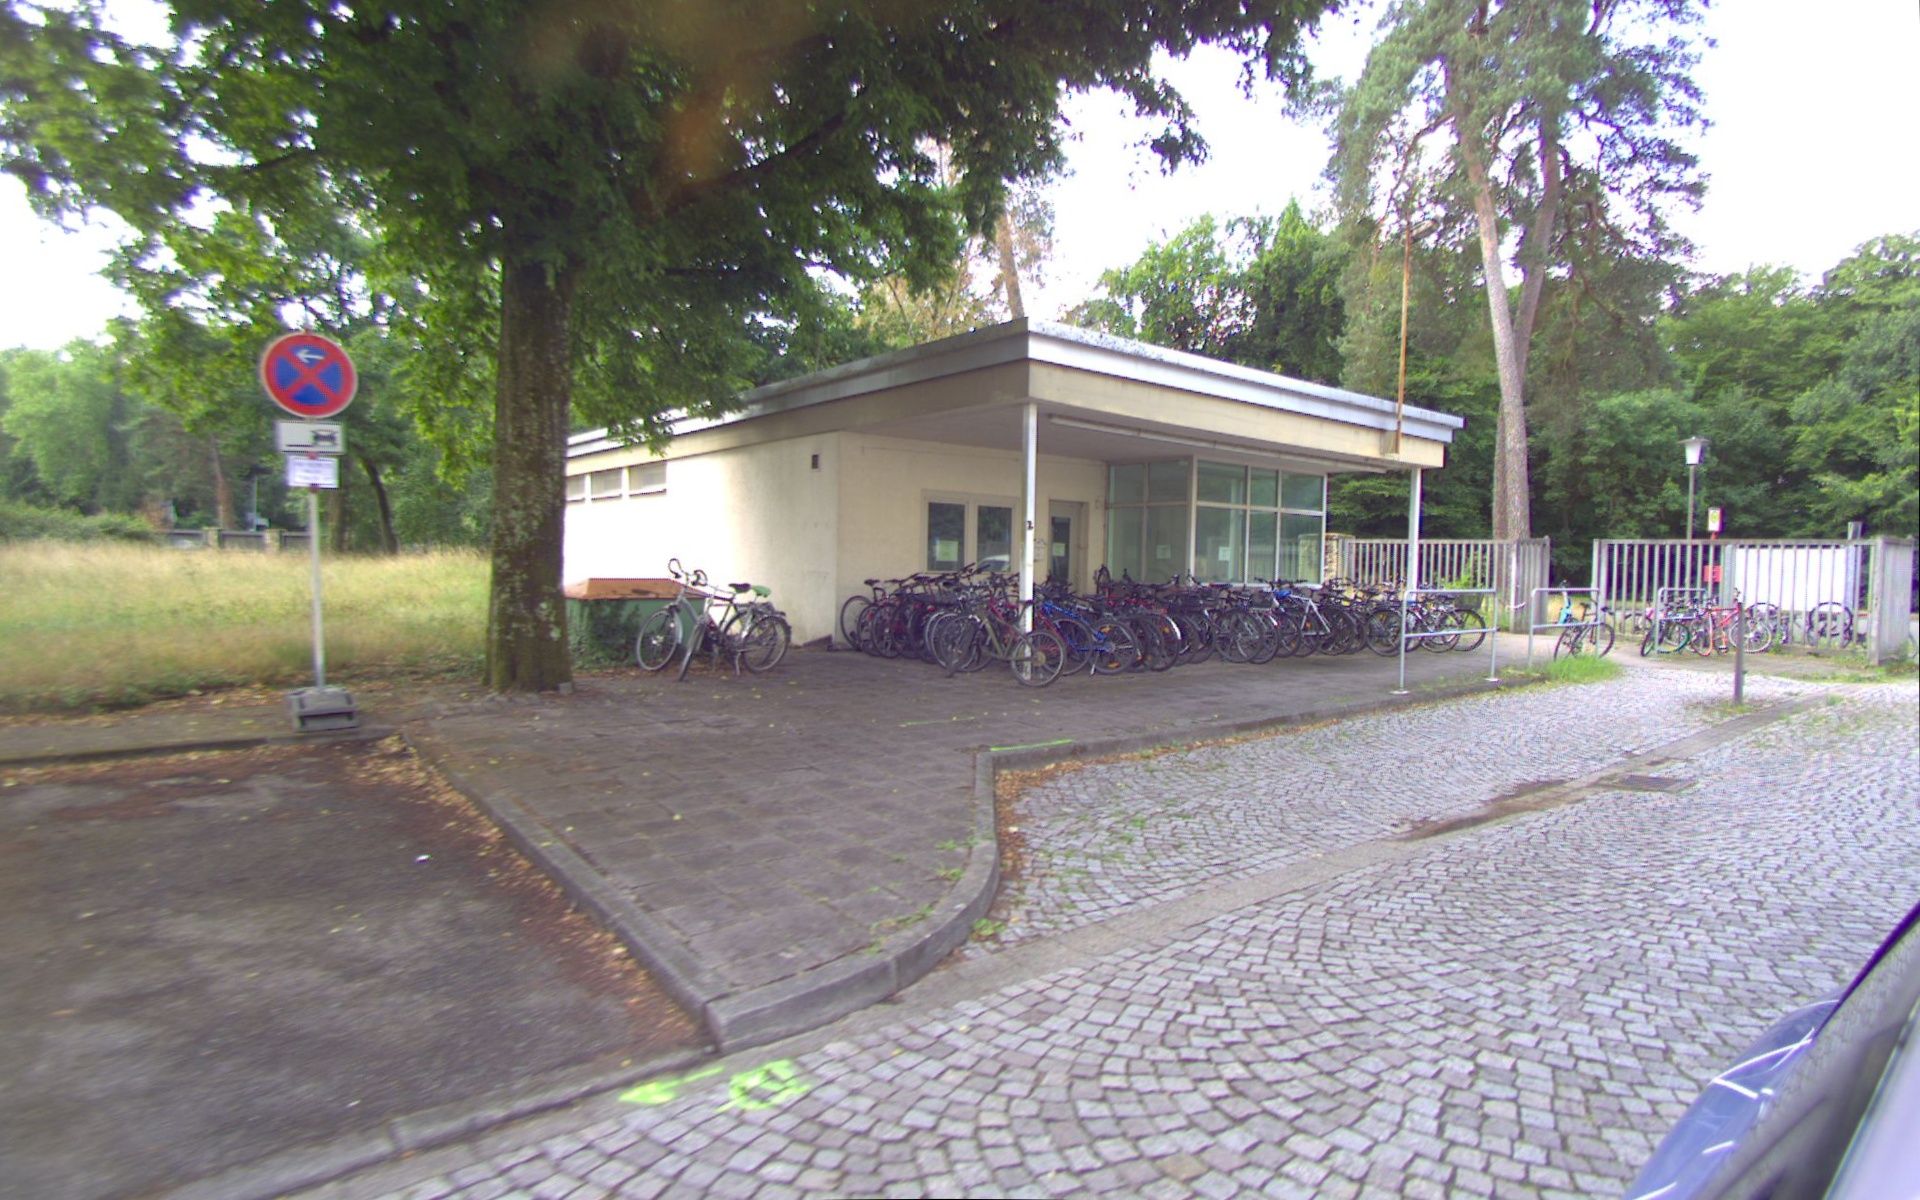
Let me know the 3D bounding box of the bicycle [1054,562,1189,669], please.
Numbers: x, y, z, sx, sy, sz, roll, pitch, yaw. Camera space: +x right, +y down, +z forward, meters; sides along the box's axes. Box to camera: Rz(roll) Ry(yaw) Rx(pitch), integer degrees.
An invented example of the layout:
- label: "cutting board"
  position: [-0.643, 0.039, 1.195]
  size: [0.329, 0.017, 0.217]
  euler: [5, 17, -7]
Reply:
- label: "bicycle"
  position: [2.021, 0.164, 12.832]
  size: [1.627, 1.204, 0.467]
  euler: [5, 4, 38]

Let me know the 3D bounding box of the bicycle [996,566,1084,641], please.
- label: "bicycle"
  position: [1.274, 0.030, 15.850]
  size: [0.478, 1.089, 1.658]
  euler: [5, 4, 39]

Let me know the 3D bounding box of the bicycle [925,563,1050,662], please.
- label: "bicycle"
  position: [0.341, 0.128, 13.615]
  size: [0.598, 1.179, 1.743]
  euler: [-1, 4, -43]

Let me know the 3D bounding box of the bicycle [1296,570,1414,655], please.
- label: "bicycle"
  position: [5.960, 0.164, 15.321]
  size: [1.613, 1.154, 0.320]
  euler: [5, 4, 44]

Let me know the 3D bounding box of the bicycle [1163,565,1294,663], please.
- label: "bicycle"
  position: [3.658, 0.156, 13.883]
  size: [1.627, 1.204, 0.492]
  euler: [5, 4, 39]

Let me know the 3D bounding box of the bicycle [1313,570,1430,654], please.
- label: "bicycle"
  position: [6.284, 0.158, 15.521]
  size: [1.613, 1.154, 0.320]
  euler: [5, 4, 44]

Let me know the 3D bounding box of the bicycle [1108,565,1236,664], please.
- label: "bicycle"
  position: [2.835, 0.163, 13.645]
  size: [1.627, 1.204, 0.414]
  euler: [5, 4, 39]

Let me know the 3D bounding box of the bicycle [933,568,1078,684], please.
- label: "bicycle"
  position: [0.475, 0.249, 11.125]
  size: [1.673, 1.121, 0.334]
  euler: [5, 4, 38]

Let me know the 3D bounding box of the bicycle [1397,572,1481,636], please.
- label: "bicycle"
  position: [9.137, 0.059, 19.289]
  size: [1.648, 1.152, 0.650]
  euler: [0, 3, -33]

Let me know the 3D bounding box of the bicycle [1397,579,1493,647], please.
- label: "bicycle"
  position: [7.980, 0.202, 16.695]
  size: [1.391, 1.058, 0.336]
  euler: [2, 2, 25]

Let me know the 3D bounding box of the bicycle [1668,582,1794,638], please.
- label: "bicycle"
  position: [15.010, 0.181, 19.745]
  size: [0.495, 0.950, 1.865]
  euler: [-1, 4, -44]

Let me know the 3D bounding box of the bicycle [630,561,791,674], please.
- label: "bicycle"
  position: [-2.712, 0.159, 11.089]
  size: [1.606, 1.130, 0.598]
  euler: [-1, 4, -41]

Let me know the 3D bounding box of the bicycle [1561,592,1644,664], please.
- label: "bicycle"
  position: [9.615, 0.394, 15.123]
  size: [1.626, 0.964, 0.535]
  euler: [-2, 3, -40]

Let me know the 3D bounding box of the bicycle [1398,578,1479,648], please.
- label: "bicycle"
  position: [7.737, 0.203, 16.379]
  size: [1.144, 1.076, 0.284]
  euler: [2, 2, 30]

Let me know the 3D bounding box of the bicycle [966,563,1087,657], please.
- label: "bicycle"
  position: [0.918, 0.108, 14.338]
  size: [0.598, 1.179, 1.743]
  euler: [-1, 4, -43]

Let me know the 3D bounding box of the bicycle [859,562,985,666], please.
- label: "bicycle"
  position: [-0.517, 0.144, 13.070]
  size: [0.598, 1.179, 1.743]
  euler: [-1, 4, -43]

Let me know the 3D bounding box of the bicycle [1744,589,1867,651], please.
- label: "bicycle"
  position: [16.293, 0.367, 19.541]
  size: [0.380, 1.046, 1.731]
  euler: [0, 4, -38]

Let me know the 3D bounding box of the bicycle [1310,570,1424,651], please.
- label: "bicycle"
  position: [6.424, 0.144, 16.038]
  size: [1.613, 1.154, 0.350]
  euler: [5, 4, 44]

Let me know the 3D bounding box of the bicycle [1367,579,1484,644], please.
- label: "bicycle"
  position: [7.931, 0.184, 17.298]
  size: [1.723, 1.058, 0.453]
  euler: [1, 2, 12]

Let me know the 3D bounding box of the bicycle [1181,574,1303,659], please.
- label: "bicycle"
  position: [3.992, 0.212, 14.413]
  size: [1.626, 1.062, 0.330]
  euler: [5, 4, 37]

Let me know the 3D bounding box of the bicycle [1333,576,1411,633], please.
- label: "bicycle"
  position: [7.575, 0.083, 18.589]
  size: [1.328, 1.022, 0.407]
  euler: [1, 2, -16]

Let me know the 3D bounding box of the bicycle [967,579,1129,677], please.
- label: "bicycle"
  position: [1.034, 0.296, 11.834]
  size: [1.725, 0.988, 0.754]
  euler: [4, 3, 21]

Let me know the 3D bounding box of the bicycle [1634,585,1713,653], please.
- label: "bicycle"
  position: [12.128, 0.299, 17.188]
  size: [1.537, 1.075, 0.692]
  euler: [-1, 3, -39]

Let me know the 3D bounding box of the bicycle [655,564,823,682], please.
- label: "bicycle"
  position: [-2.295, 0.211, 10.619]
  size: [1.606, 1.130, 0.598]
  euler: [-1, 4, -41]

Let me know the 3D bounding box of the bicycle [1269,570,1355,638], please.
- label: "bicycle"
  position: [5.984, 0.050, 17.163]
  size: [1.800, 1.089, 0.491]
  euler: [-1, 4, -41]

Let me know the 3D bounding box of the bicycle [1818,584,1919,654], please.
- label: "bicycle"
  position: [18.208, 0.358, 20.123]
  size: [1.650, 1.245, 0.737]
  euler: [5, 4, 43]

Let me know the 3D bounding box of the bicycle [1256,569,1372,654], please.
- label: "bicycle"
  position: [5.340, 0.141, 15.345]
  size: [1.613, 1.154, 0.320]
  euler: [5, 4, 44]

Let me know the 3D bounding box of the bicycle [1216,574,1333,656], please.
- label: "bicycle"
  position: [4.541, 0.191, 14.699]
  size: [1.592, 1.062, 0.320]
  euler: [5, 4, 44]

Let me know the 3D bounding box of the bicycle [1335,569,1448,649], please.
- label: "bicycle"
  position: [6.985, 0.119, 16.428]
  size: [1.613, 1.154, 0.350]
  euler: [5, 4, 44]

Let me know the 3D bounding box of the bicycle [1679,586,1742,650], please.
- label: "bicycle"
  position: [13.498, 0.303, 18.192]
  size: [1.701, 1.070, 0.474]
  euler: [-1, 3, -40]

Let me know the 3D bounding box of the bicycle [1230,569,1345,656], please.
- label: "bicycle"
  position: [4.812, 0.153, 14.949]
  size: [1.592, 1.154, 0.320]
  euler: [5, 4, 44]

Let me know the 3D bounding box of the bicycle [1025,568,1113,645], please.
- label: "bicycle"
  position: [1.684, 0.071, 15.450]
  size: [0.478, 1.089, 1.658]
  euler: [5, 4, 39]

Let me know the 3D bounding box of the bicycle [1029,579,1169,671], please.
- label: "bicycle"
  position: [1.677, 0.287, 12.297]
  size: [1.615, 0.988, 0.320]
  euler: [4, 3, 21]

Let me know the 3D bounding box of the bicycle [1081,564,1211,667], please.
- label: "bicycle"
  position: [2.407, 0.176, 13.218]
  size: [1.627, 1.204, 0.414]
  euler: [5, 4, 39]

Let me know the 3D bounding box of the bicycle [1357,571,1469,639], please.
- label: "bicycle"
  position: [8.000, 0.082, 17.900]
  size: [1.711, 1.146, 0.473]
  euler: [1, 2, 7]
